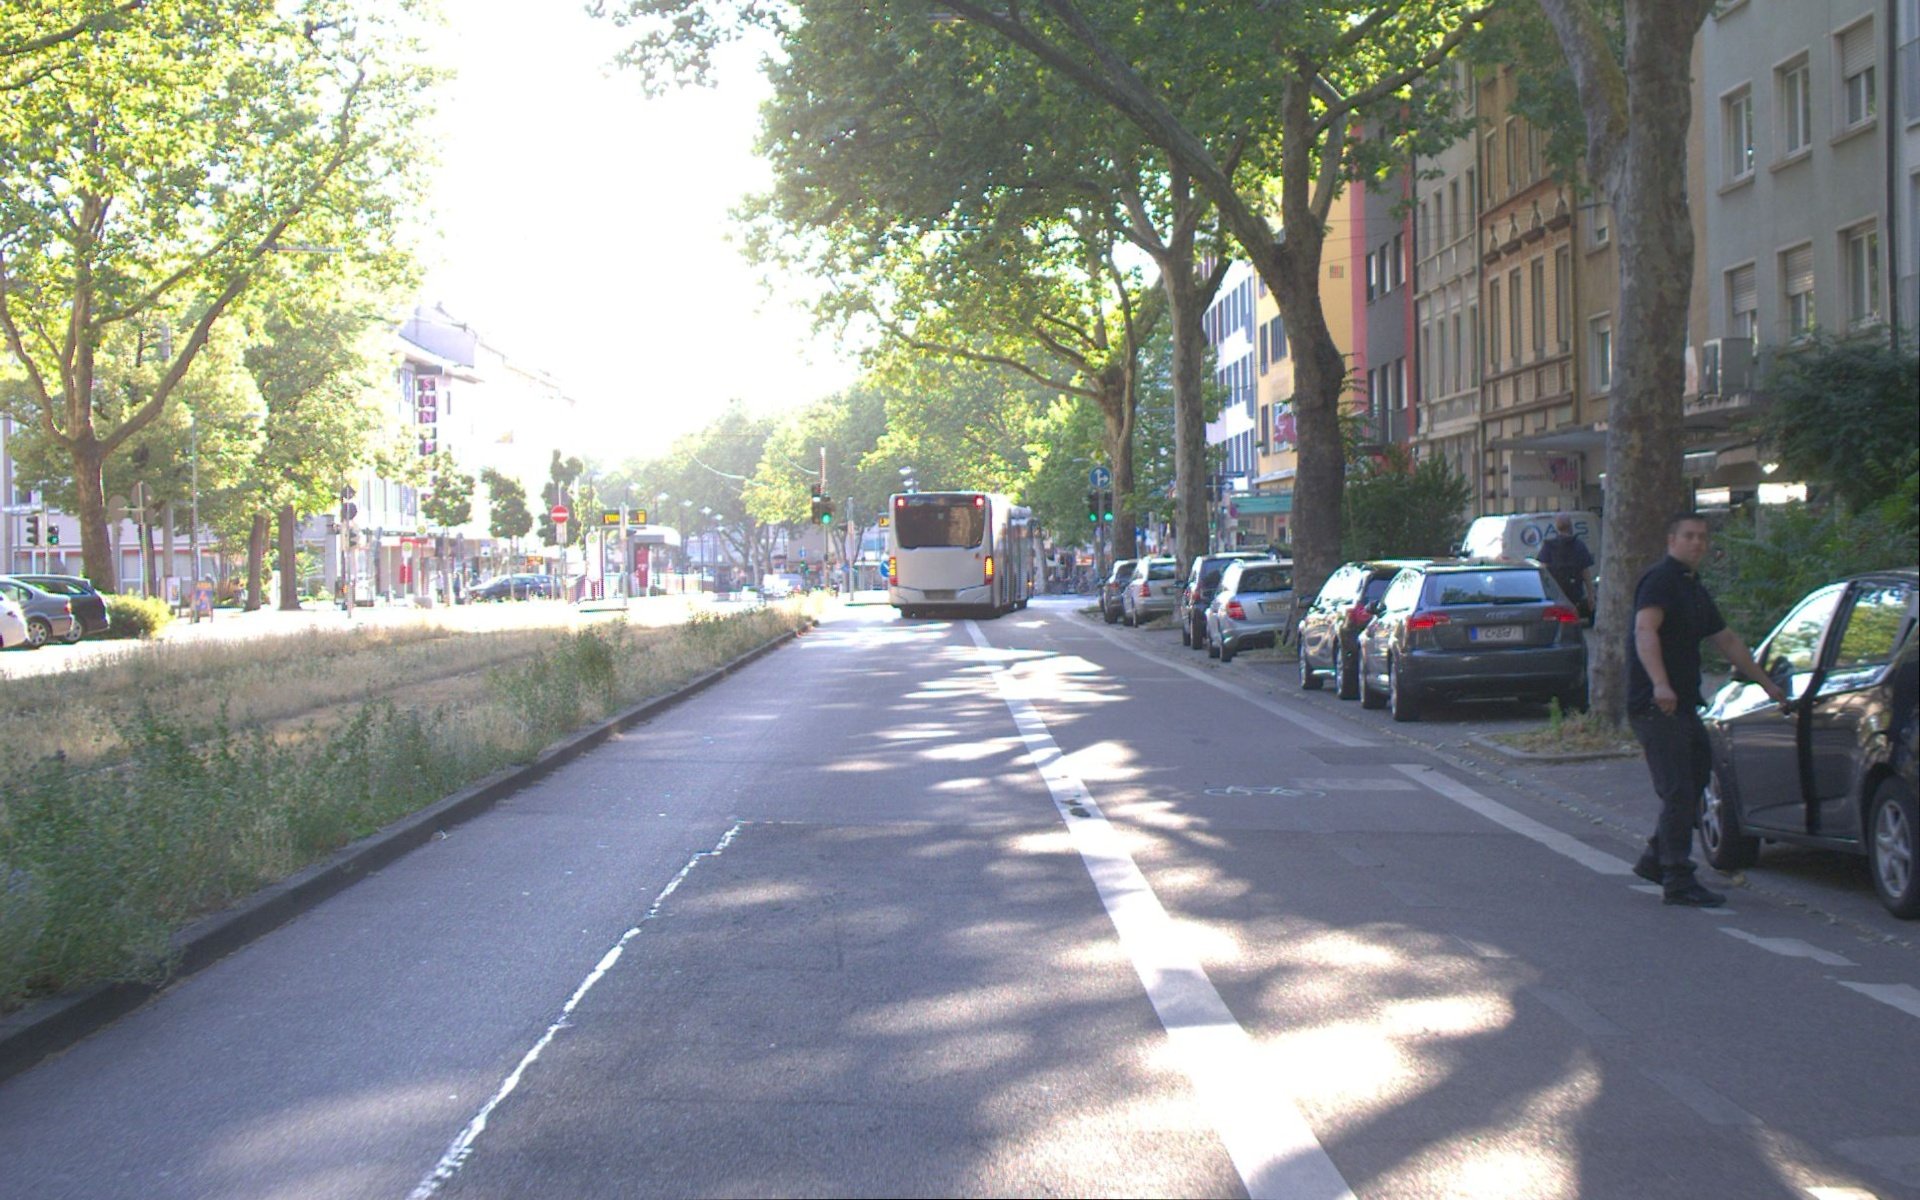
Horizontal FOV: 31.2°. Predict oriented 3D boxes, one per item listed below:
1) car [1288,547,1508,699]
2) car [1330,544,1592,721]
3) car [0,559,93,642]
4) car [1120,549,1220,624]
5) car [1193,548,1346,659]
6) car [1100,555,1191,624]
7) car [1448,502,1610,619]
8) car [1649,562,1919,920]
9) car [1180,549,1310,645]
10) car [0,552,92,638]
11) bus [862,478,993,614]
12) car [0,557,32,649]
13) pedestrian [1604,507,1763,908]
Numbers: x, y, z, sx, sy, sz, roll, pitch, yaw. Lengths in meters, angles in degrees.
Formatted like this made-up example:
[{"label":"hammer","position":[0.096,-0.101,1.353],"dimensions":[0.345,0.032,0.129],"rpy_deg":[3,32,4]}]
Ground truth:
[{"label":"car","position":[4.634,0.202,36.883],"dimensions":[1.781,1.510,4.000],"rpy_deg":[-1,1,-1]},{"label":"car","position":[4.590,0.247,31.998],"dimensions":[1.781,1.510,4.000],"rpy_deg":[-1,1,-1]},{"label":"car","position":[-20.731,0.013,72.600],"dimensions":[4.300,1.732,1.857],"rpy_deg":[-1,0,-41]},{"label":"car","position":[4.388,-0.307,72.348],"dimensions":[1.781,1.510,4.000],"rpy_deg":[-1,1,-1]},{"label":"car","position":[4.428,0.018,49.648],"dimensions":[1.781,1.510,4.000],"rpy_deg":[-1,1,-1]},{"label":"car","position":[4.219,-0.264,78.773],"dimensions":[1.781,1.510,4.000],"rpy_deg":[-1,1,-1]},{"label":"car","position":[9.397,-0.638,57.086],"dimensions":[1.883,1.853,4.326],"rpy_deg":[-1,0,-1]},{"label":"car","position":[4.642,0.570,16.144],"dimensions":[1.685,1.481,4.001],"rpy_deg":[-1,0,-5]},{"label":"car","position":[4.751,-0.077,57.778],"dimensions":[1.781,1.510,4.000],"rpy_deg":[-1,1,-1]},{"label":"car","position":[-20.094,-0.098,70.030],"dimensions":[4.300,1.732,1.857],"rpy_deg":[-1,0,-41]},{"label":"bus","position":[-0.891,-1.295,86.002],"dimensions":[2.833,3.224,8.183],"rpy_deg":[-1,0,-3]},{"label":"car","position":[-19.674,0.081,63.909],"dimensions":[4.300,1.732,1.857],"rpy_deg":[-1,0,-41]},{"label":"pedestrian","position":[3.267,0.474,15.545],"dimensions":[0.576,1.773,0.514],"rpy_deg":[-1,1,-1]}]
